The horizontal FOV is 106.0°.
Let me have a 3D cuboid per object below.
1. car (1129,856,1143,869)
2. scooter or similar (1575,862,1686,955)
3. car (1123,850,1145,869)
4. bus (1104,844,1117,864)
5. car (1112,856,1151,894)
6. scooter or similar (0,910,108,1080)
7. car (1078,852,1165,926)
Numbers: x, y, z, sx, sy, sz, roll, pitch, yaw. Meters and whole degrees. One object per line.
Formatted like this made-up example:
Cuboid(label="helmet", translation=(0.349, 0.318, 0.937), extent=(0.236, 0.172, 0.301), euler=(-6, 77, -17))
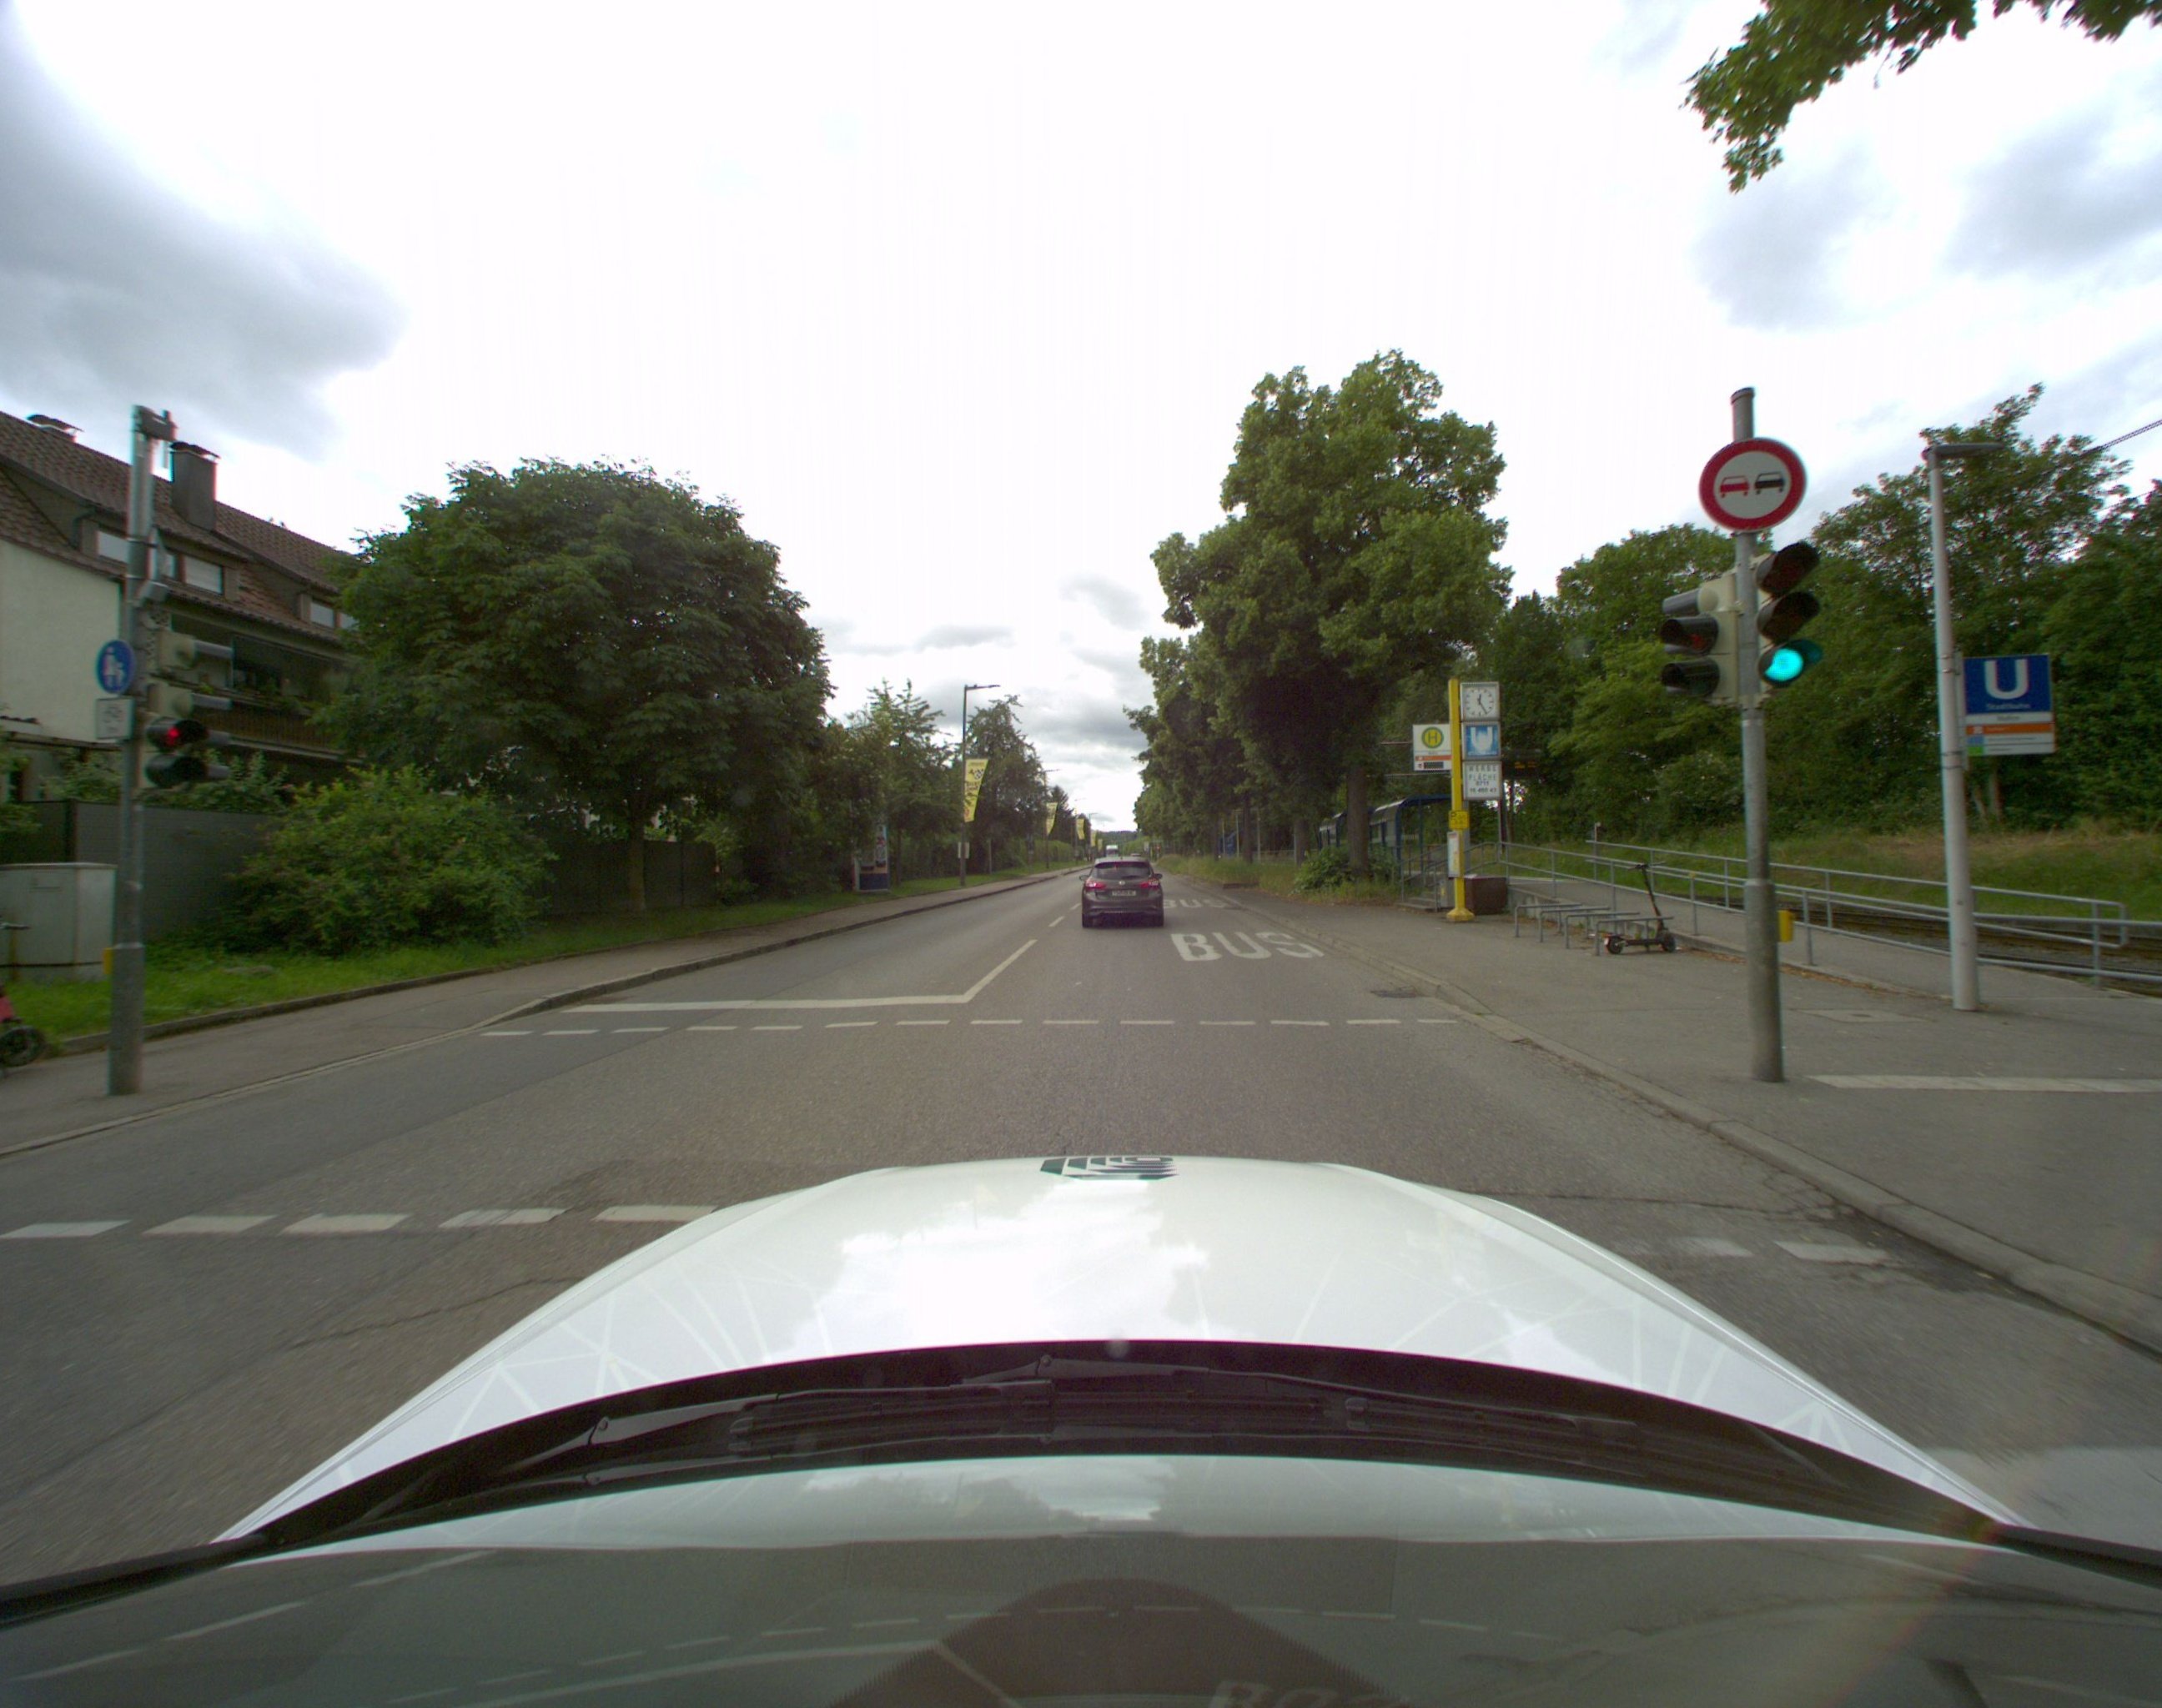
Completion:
Cuboid(label="car", translation=(6.537, 1.009, 96.661), extent=(1.684, 1.441, 3.544), euler=(-1, -1, 3))
Cuboid(label="scooter or similar", translation=(7.640, 0.728, 11.319), extent=(1.457, 1.243, 0.482), euler=(0, -1, -18))
Cuboid(label="car", translation=(4.181, 0.457, 64.706), extent=(1.684, 1.441, 3.544), euler=(-1, -1, 3))
Cuboid(label="bus", translation=(6.400, 0.101, 173.572), extent=(2.476, 4.026, 10.226), euler=(-1, 0, 4))
Cuboid(label="car", translation=(2.091, 0.841, 33.483), extent=(1.495, 1.441, 3.544), euler=(-1, -1, 3))
Cuboid(label="scooter or similar", translation=(-8.466, 1.094, 6.143), extent=(0.460, 1.259, 1.428), euler=(-1, -1, 5))
Cuboid(label="car", translation=(0.974, 0.752, 18.693), extent=(1.775, 1.507, 3.700), euler=(-1, -1, 4))
